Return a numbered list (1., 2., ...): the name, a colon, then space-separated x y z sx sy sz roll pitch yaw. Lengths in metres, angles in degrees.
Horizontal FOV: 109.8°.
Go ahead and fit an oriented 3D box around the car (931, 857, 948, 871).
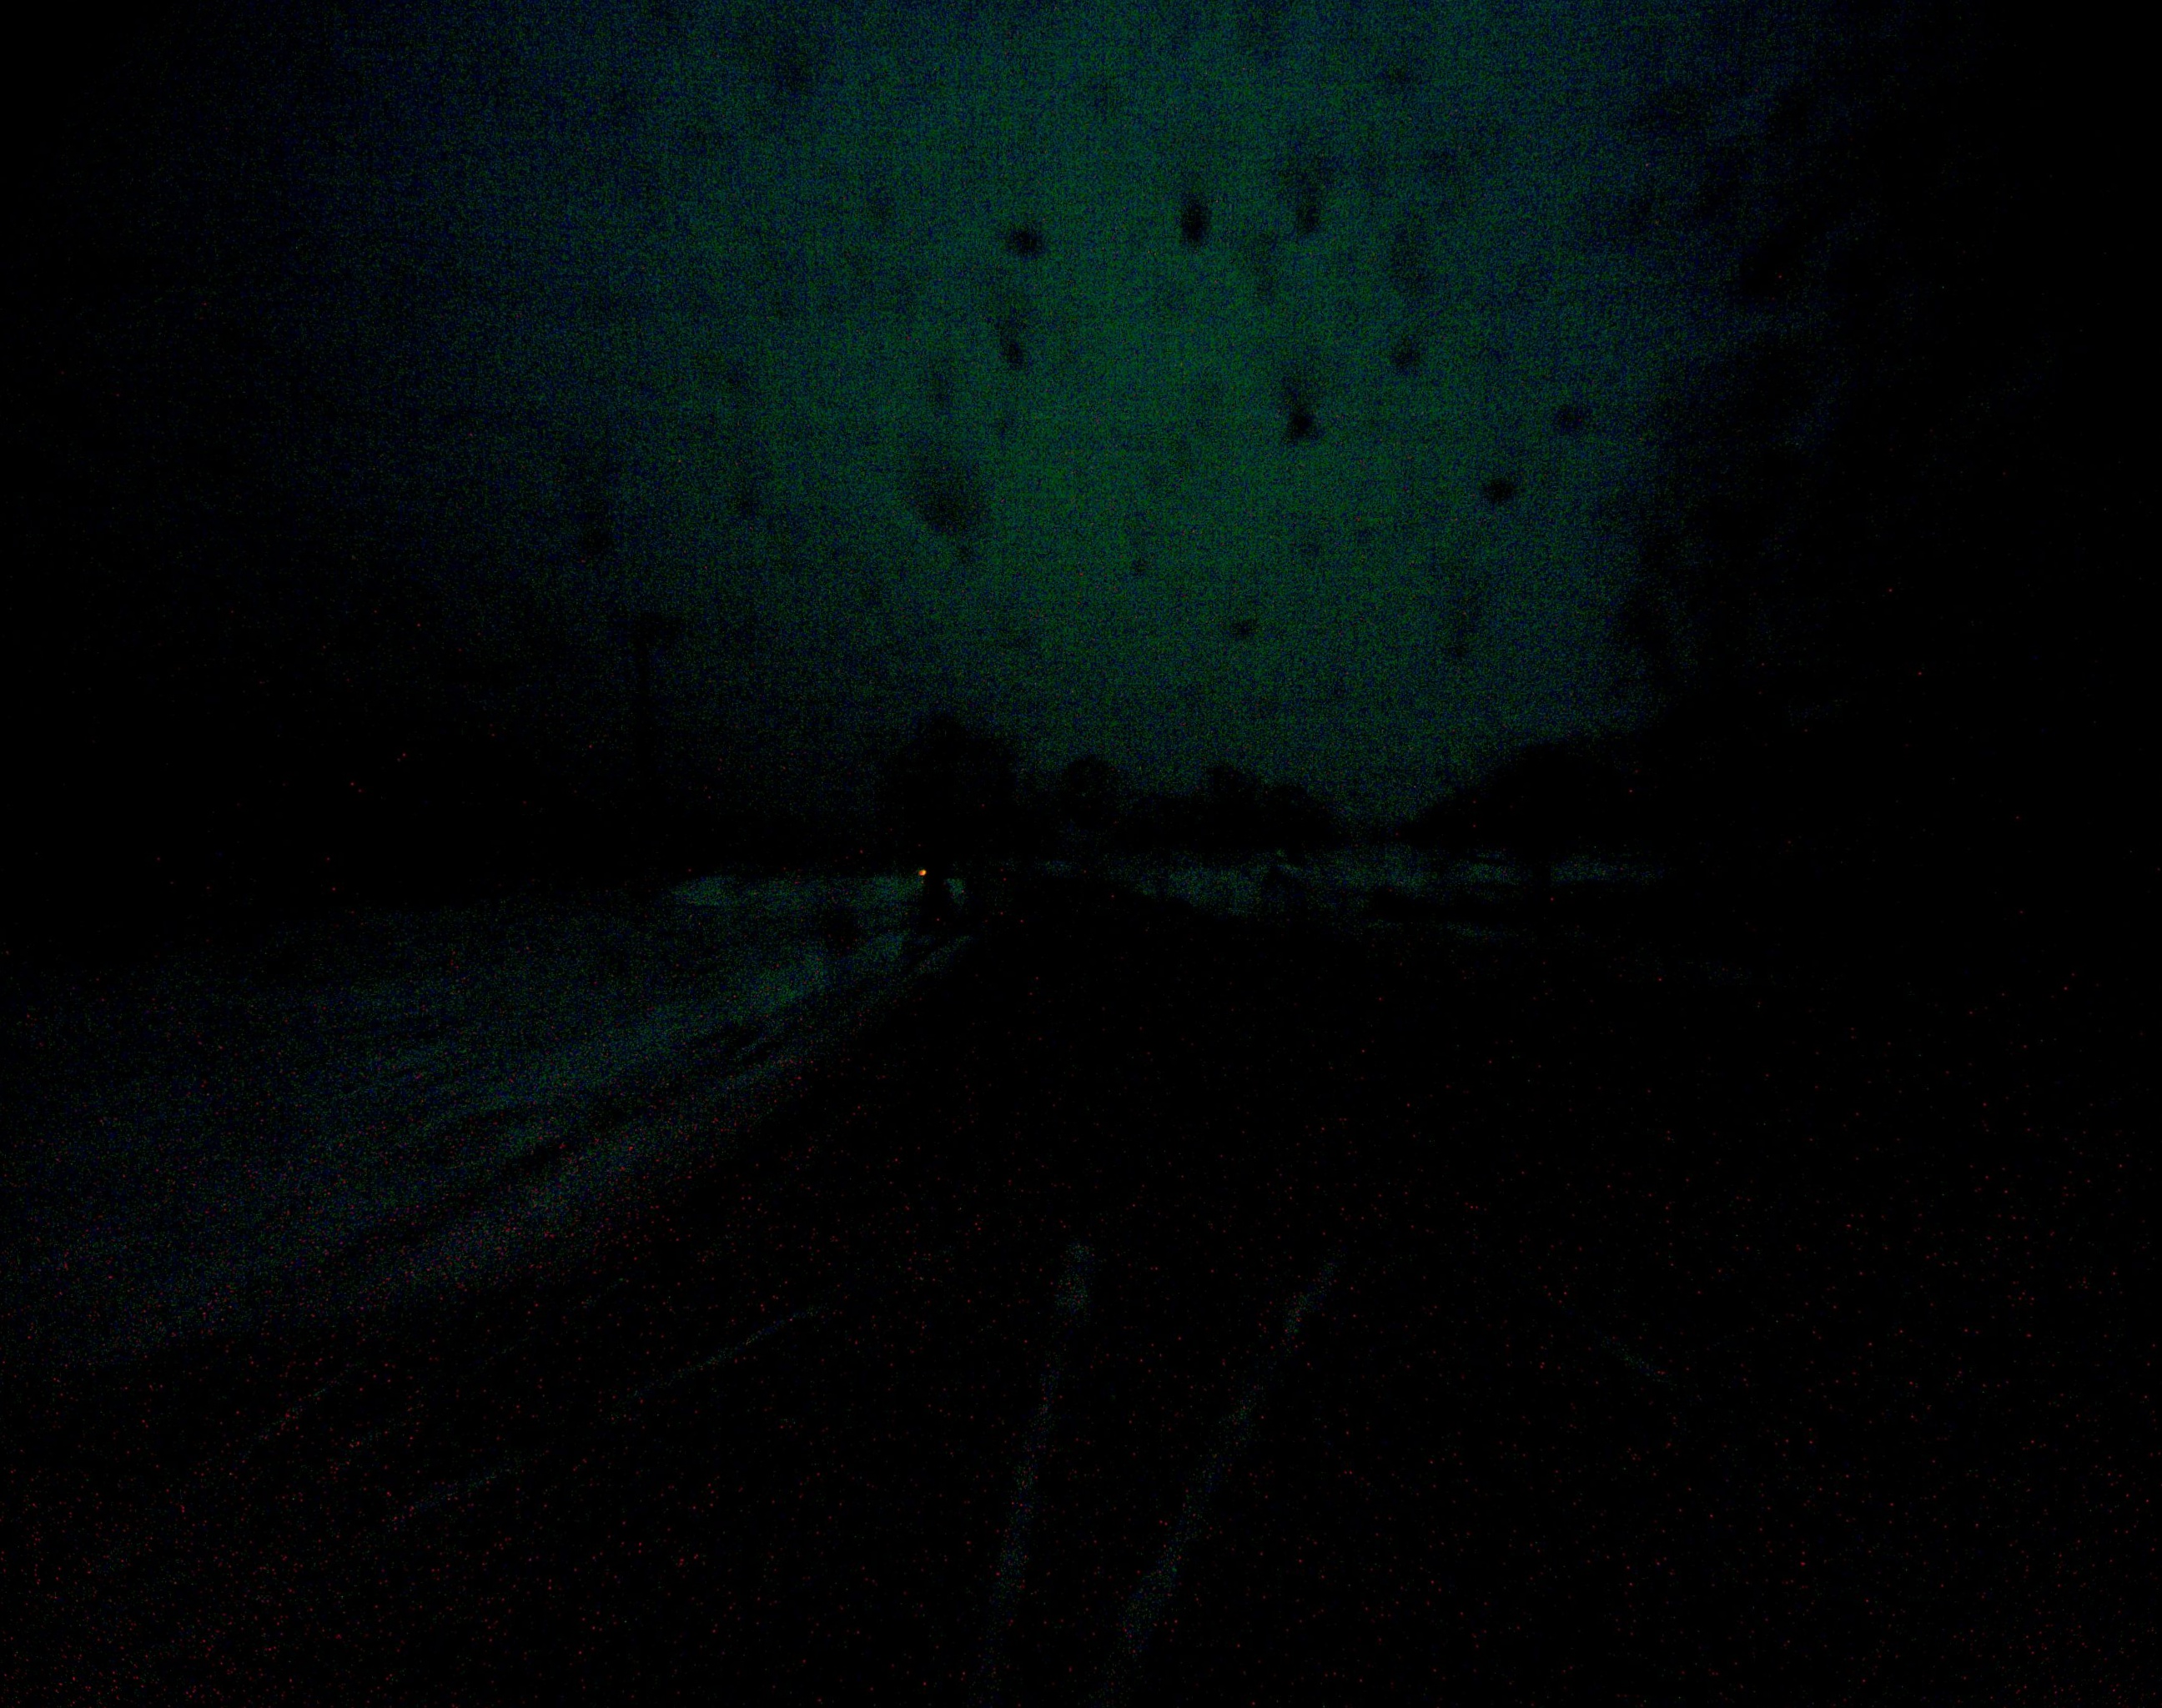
1. car: -22.473 1.552 120.399 2.001 2.002 3.993 -3 2 -17
